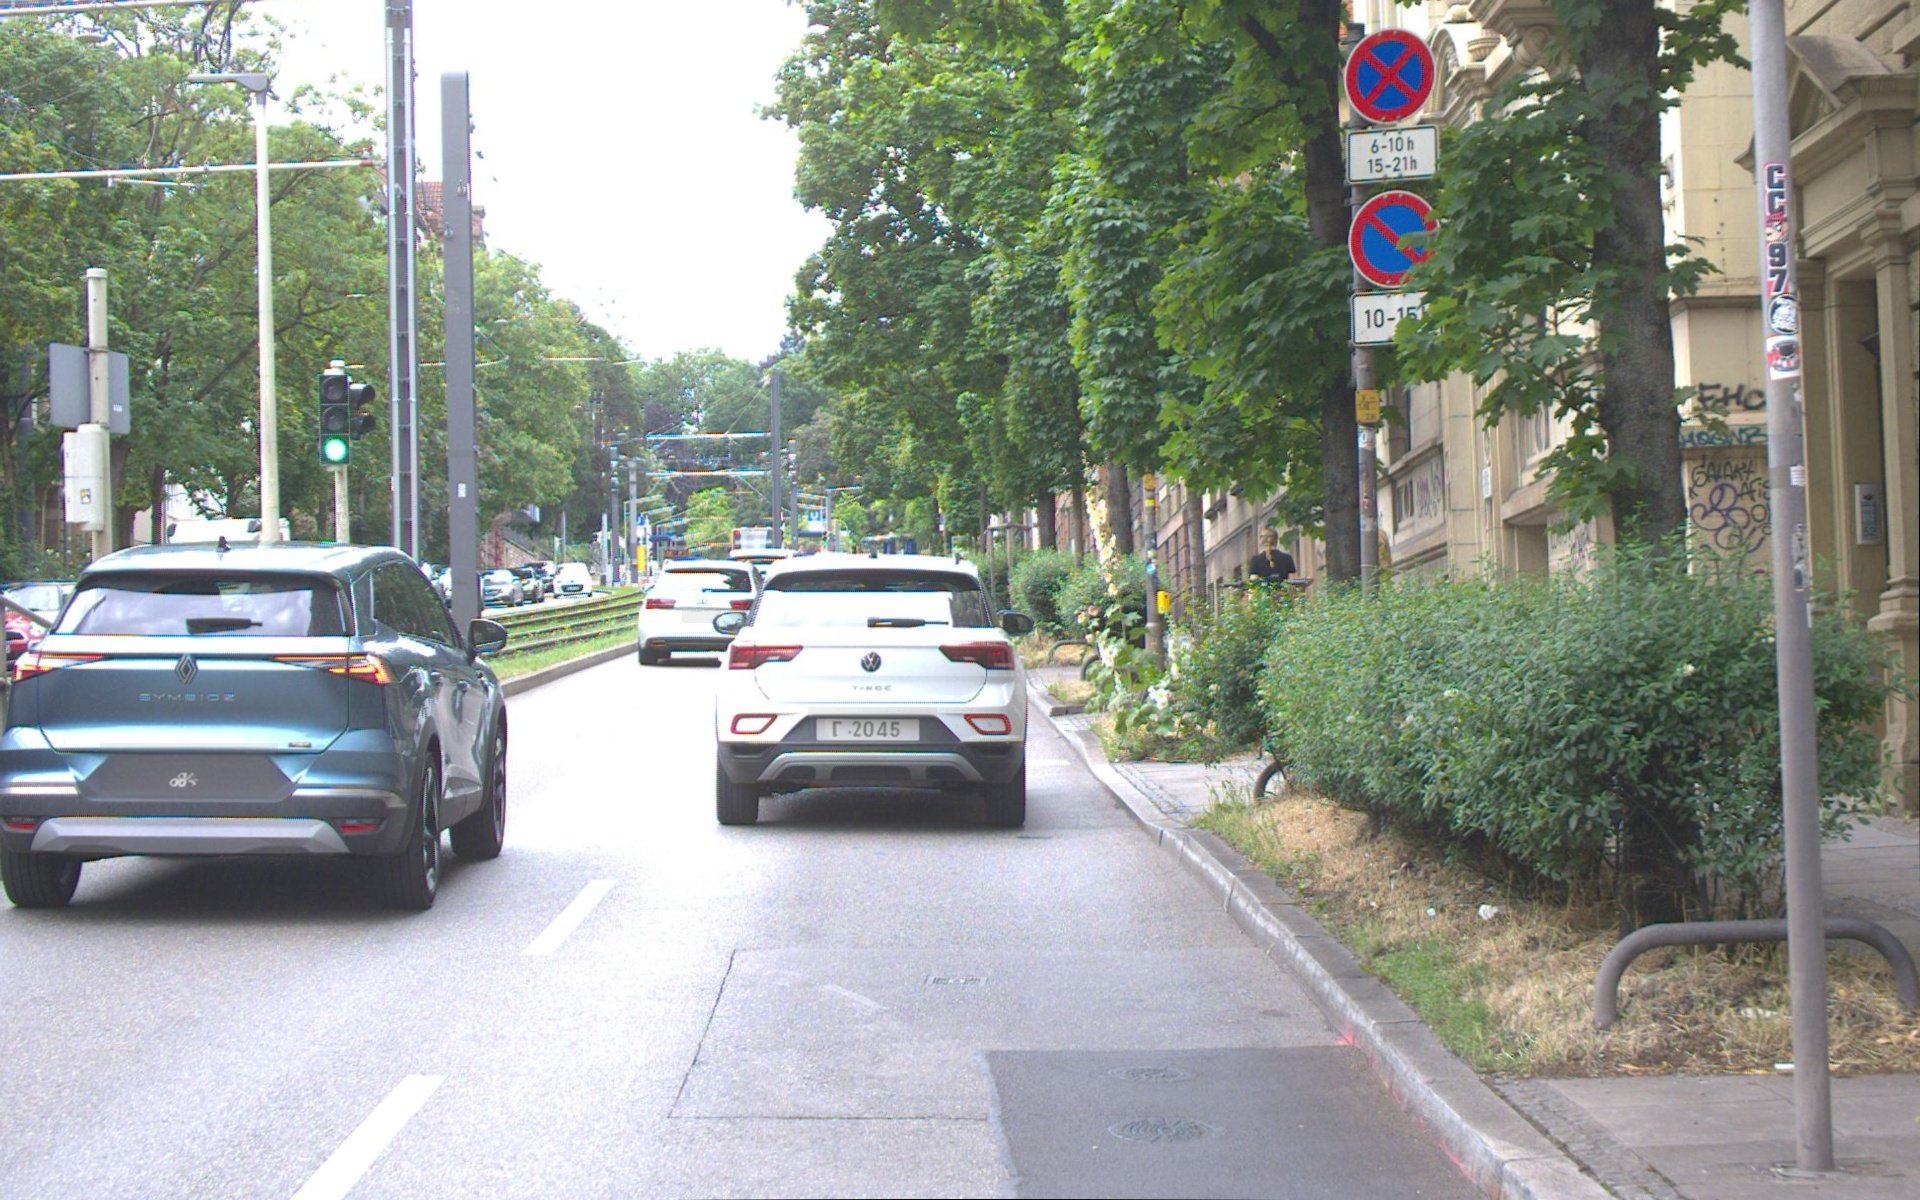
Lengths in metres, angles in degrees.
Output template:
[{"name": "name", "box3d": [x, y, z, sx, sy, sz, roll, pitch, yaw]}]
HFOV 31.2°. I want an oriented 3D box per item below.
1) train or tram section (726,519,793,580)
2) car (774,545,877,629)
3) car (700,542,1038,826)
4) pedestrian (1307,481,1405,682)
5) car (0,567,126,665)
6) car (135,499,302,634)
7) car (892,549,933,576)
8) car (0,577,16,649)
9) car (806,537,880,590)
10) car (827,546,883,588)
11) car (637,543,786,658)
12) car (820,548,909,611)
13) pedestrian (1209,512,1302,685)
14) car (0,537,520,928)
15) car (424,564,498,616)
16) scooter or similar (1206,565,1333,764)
[{"name": "train or tram section", "box3d": [-11.526, -2.886, 198.354, 2.996, 3.337, 13.439, -1, 0, 0]}, {"name": "car", "box3d": [-2.541, -0.253, 65.802, 1.835, 1.541, 4.193, 0, 0, -1]}, {"name": "car", "box3d": [-0.561, 0.440, 20.887, 1.835, 1.541, 4.194, 0, 0, -2]}, {"name": "pedestrian", "box3d": [3.724, -0.173, 32.397, 0.685, 1.823, 1.121, -3, 0, -1]}, {"name": "car", "box3d": [-13.877, 0.220, 51.600, 1.577, 1.373, 3.654, -1, 1, 4]}, {"name": "car", "box3d": [-16.040, -0.735, 74.763, 2.392, 2.690, 6.519, -3, 1, -3]}, {"name": "car", "box3d": [-2.719, -2.146, 196.354, 2.068, 1.541, 4.194, 0, 0, -5]}, {"name": "car", "box3d": [-20.099, 0.281, 64.700, 4.170, 1.360, 1.712, -1, 1, -30]}, {"name": "car", "box3d": [-3.517, -1.085, 102.473, 2.068, 1.541, 4.194, 0, 0, -4]}, {"name": "car", "box3d": [-3.957, -1.240, 129.715, 2.068, 1.541, 4.194, 0, 0, -2]}, {"name": "car", "box3d": [-3.470, -0.007, 48.635, 1.835, 1.541, 4.193, 0, 0, -1]}, {"name": "car", "box3d": [-2.437, -0.515, 86.697, 2.068, 1.541, 4.194, 0, 0, -4]}, {"name": "pedestrian", "box3d": [2.777, -0.024, 32.396, 0.685, 1.569, 1.216, -3, 1, -1]}, {"name": "car", "box3d": [-3.184, 0.508, 15.738, 1.835, 1.541, 4.193, 0, 0, -1]}, {"name": "car", "box3d": [-16.407, -0.351, 113.198, 1.780, 1.611, 4.346, -3, 1, -1]}, {"name": "scooter or similar", "box3d": [2.127, 0.426, 23.758, 0.662, 1.299, 1.384, -3, 0, -1]}]
